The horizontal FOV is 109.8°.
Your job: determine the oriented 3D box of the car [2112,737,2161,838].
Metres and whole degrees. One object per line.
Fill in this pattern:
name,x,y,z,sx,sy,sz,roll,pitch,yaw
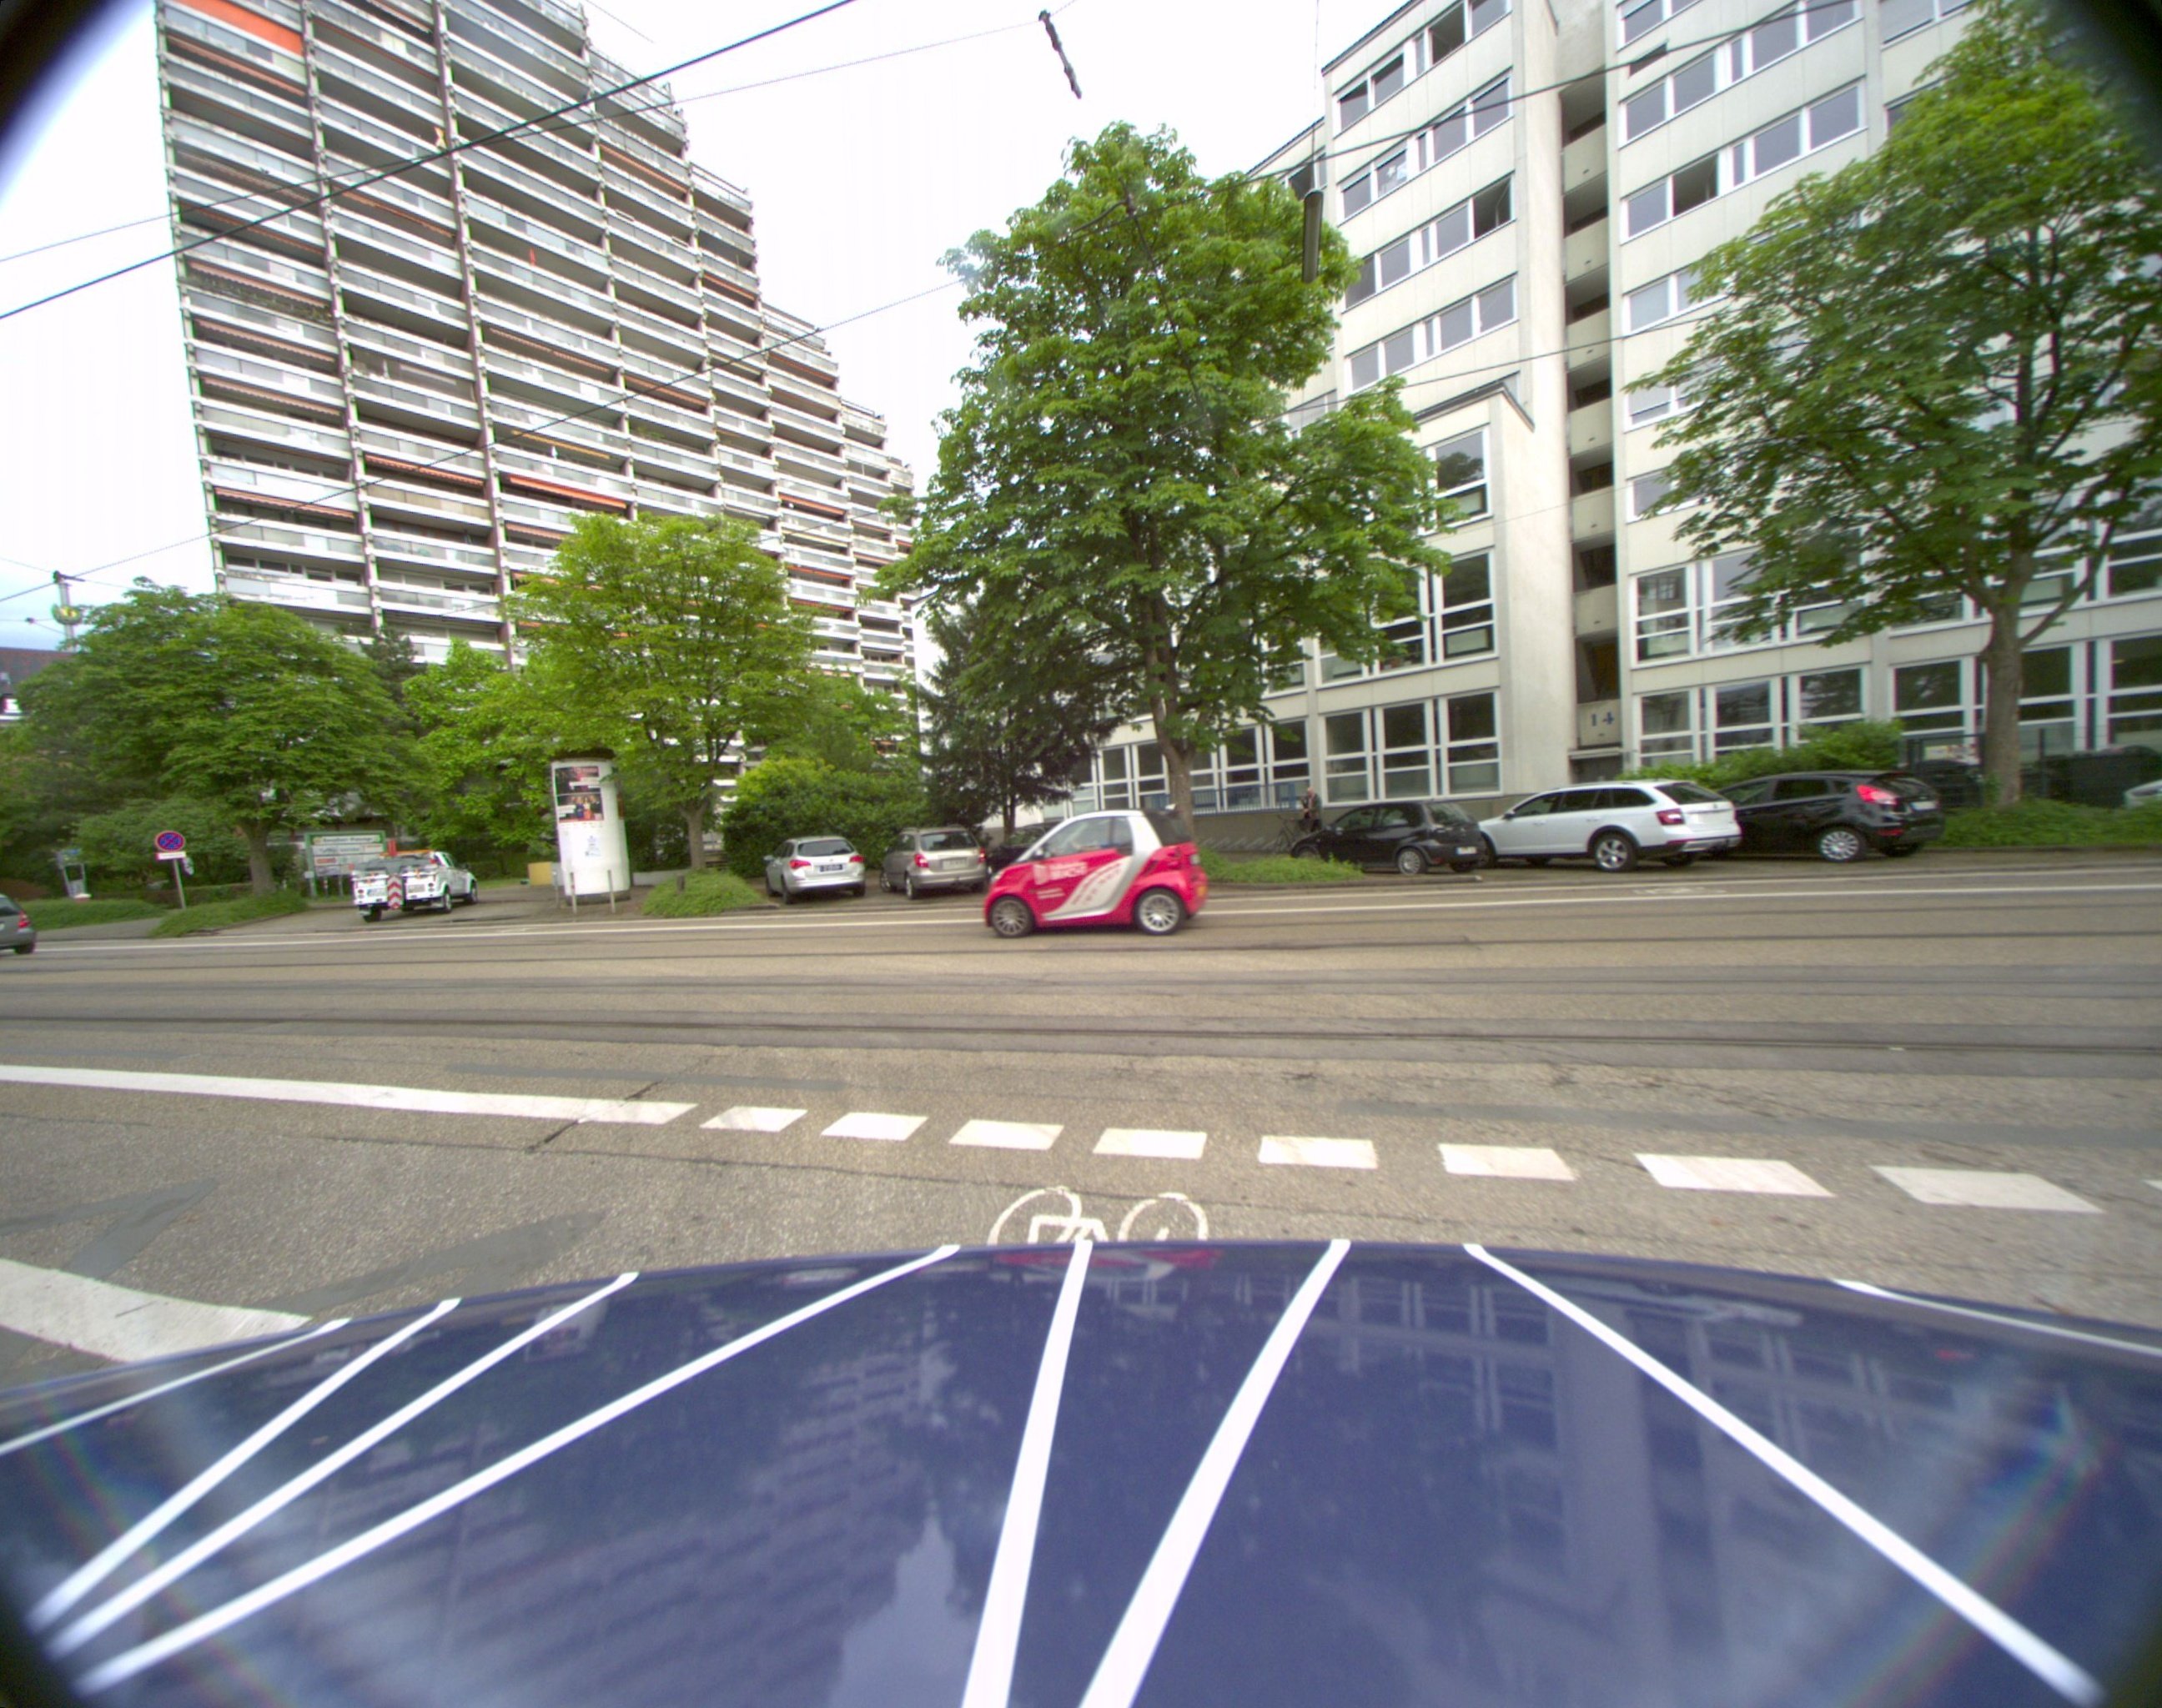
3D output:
car,18.376,-1.068,10.743,1.702,1.548,4.335,-7,5,-31

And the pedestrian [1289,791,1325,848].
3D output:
pedestrian,6.584,-1.000,22.134,0.753,1.603,0.735,1,7,38

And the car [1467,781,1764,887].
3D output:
car,9.140,-0.398,13.418,1.701,1.477,4.020,-6,4,-20

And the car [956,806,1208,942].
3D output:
car,0.079,0.241,9.784,2.776,1.514,1.683,-3,2,18

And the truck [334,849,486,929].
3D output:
truck,-19.707,0.909,22.636,2.002,1.839,5.052,-6,4,-27

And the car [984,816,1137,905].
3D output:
car,-0.548,0.045,16.035,1.701,1.516,3.696,-7,5,-26

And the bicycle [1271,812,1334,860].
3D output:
bicycle,6.295,-0.517,21.592,1.592,1.261,0.406,-3,3,27

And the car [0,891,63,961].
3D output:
car,-26.747,1.820,17.981,3.747,1.522,1.908,-3,3,17

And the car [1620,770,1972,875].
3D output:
car,11.821,-0.557,12.948,1.701,1.398,4.020,-6,4,-20

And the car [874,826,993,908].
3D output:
car,-3.415,0.204,17.125,1.574,1.516,3.642,-7,5,-26

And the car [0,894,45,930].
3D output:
car,-46.239,2.600,31.445,1.633,1.370,3.502,-3,4,4

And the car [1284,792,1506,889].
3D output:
car,5.902,-0.297,14.718,1.701,1.516,3.696,-7,5,-26

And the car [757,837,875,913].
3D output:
car,-6.561,0.391,18.498,1.806,1.457,4.421,-6,4,-30
